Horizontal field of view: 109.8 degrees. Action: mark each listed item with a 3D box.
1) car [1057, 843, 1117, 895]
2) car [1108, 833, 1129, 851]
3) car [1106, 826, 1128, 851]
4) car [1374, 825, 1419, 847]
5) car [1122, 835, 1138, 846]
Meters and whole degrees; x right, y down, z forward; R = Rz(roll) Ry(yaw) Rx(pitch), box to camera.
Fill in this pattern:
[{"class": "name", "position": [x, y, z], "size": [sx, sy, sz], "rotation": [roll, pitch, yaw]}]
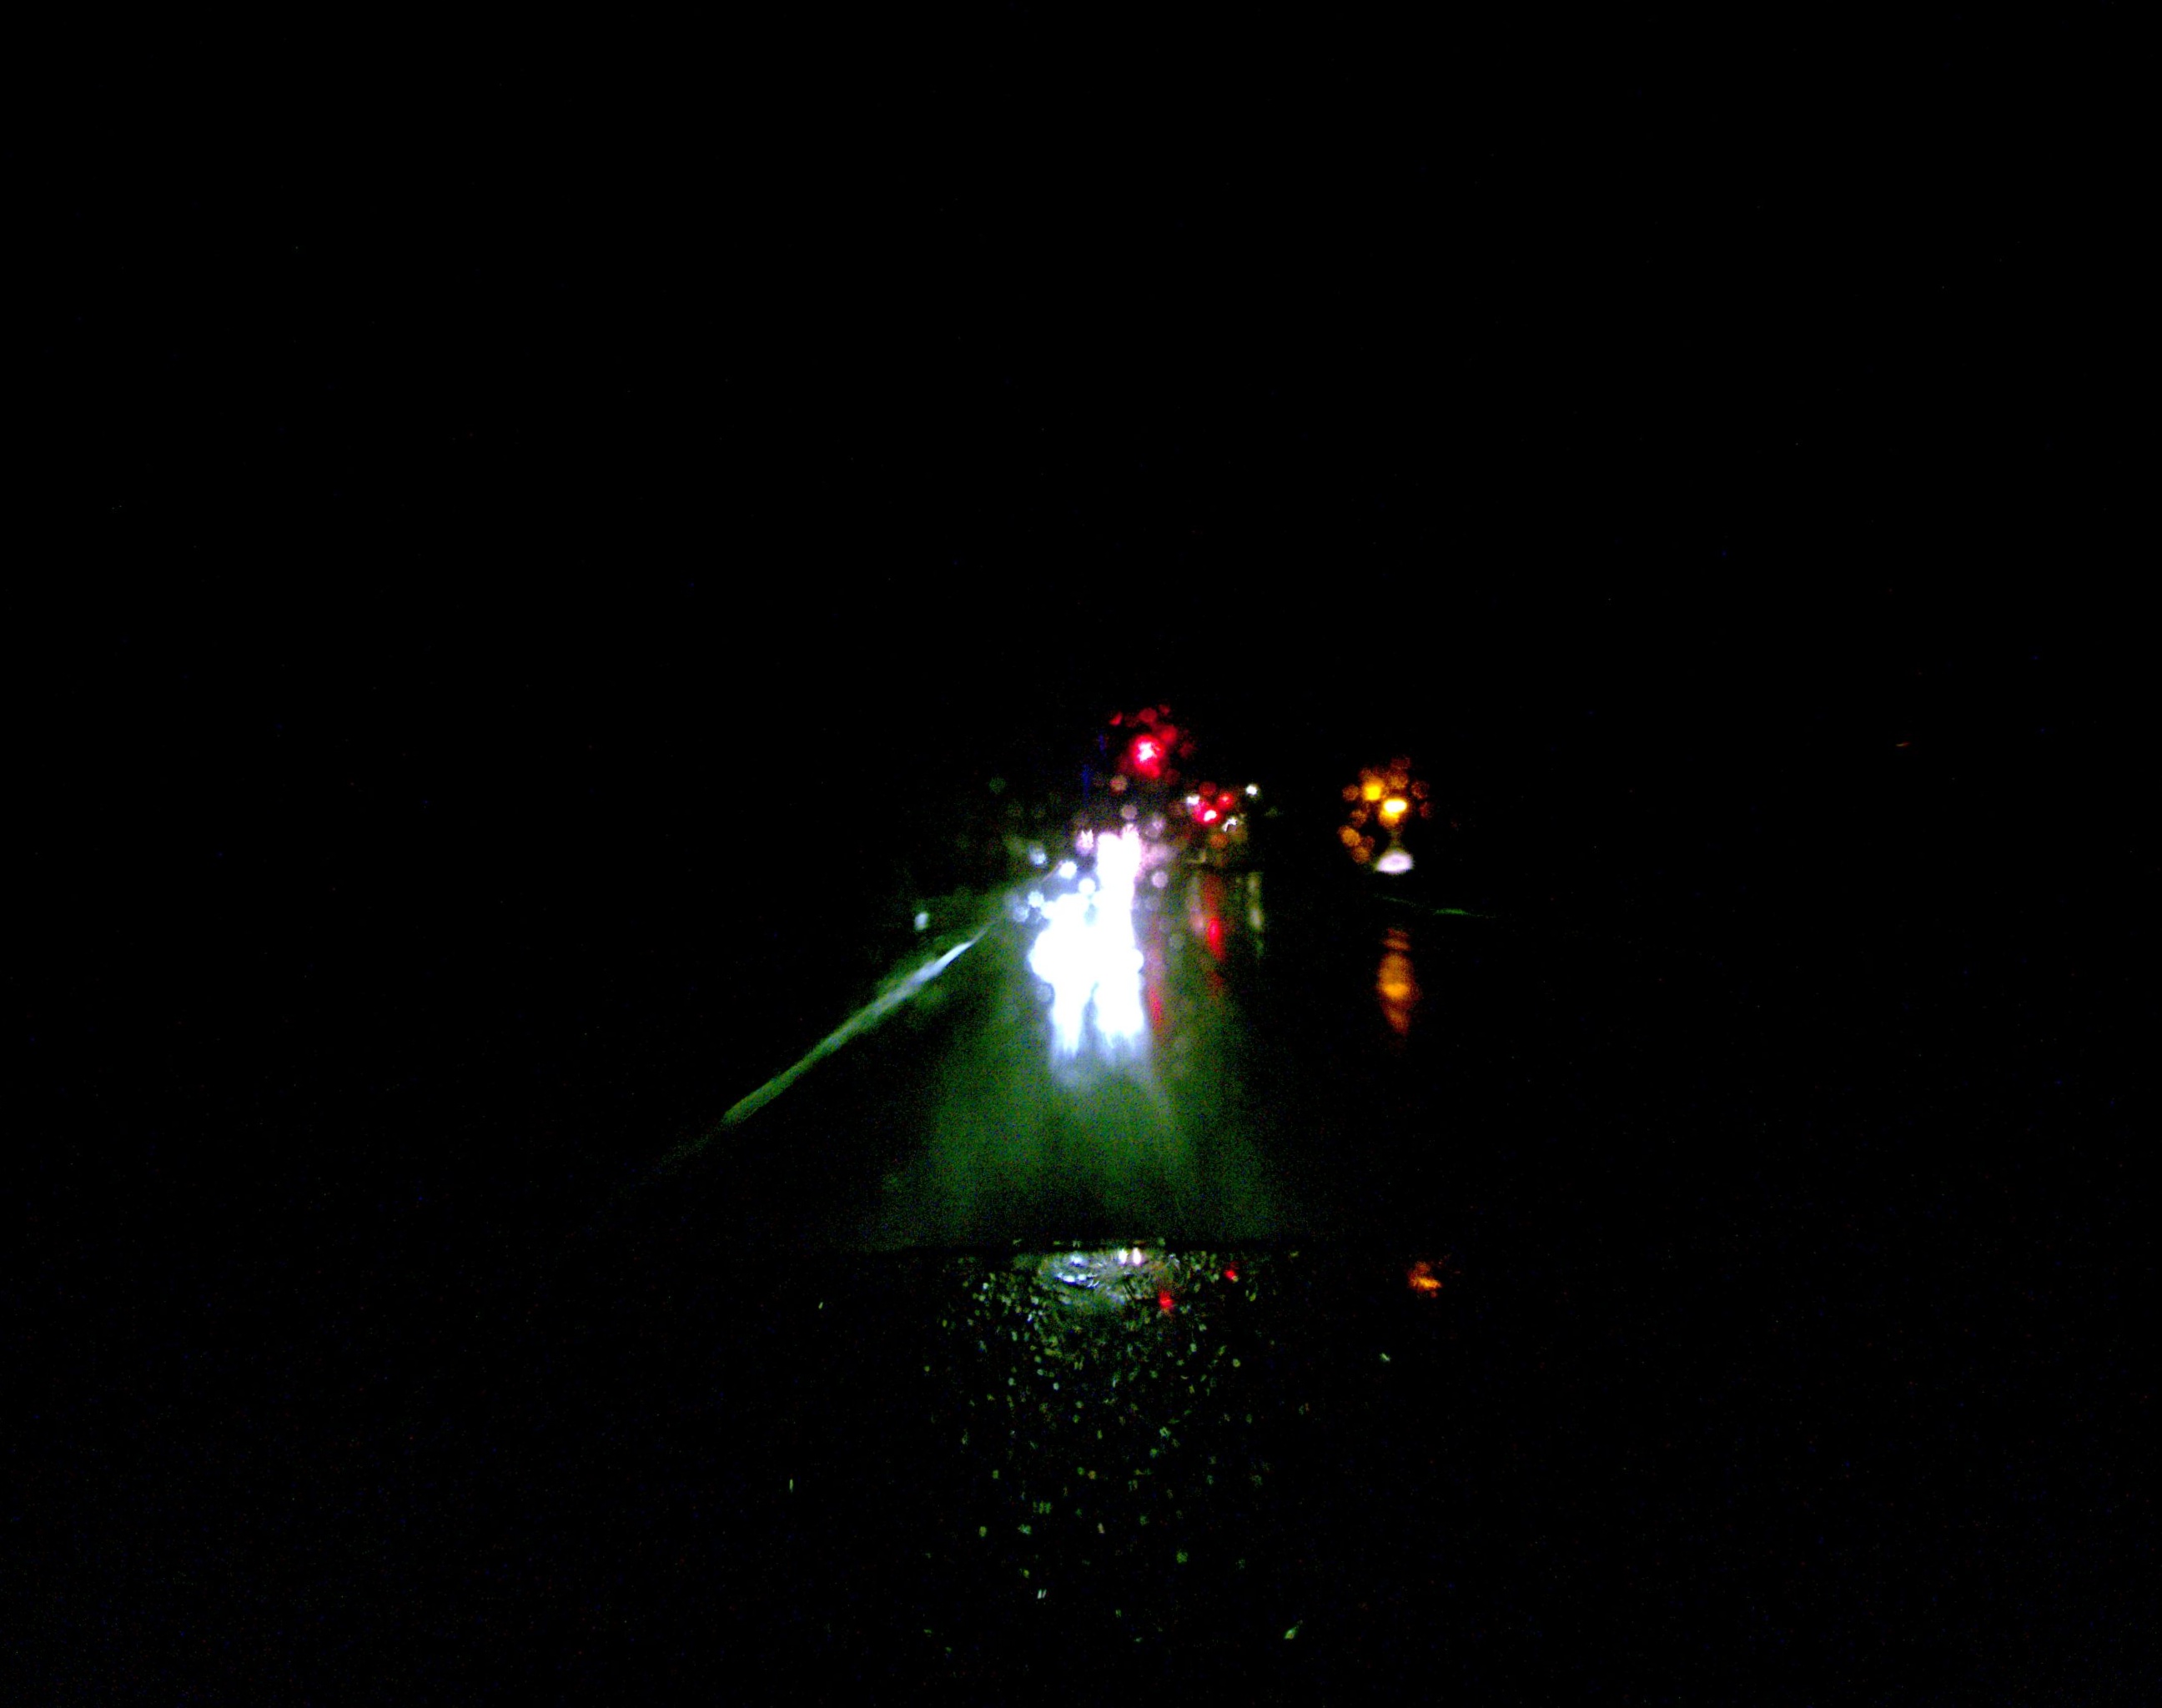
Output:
[{"class": "car", "position": [0.303, 0.500, 27.475], "size": [1.893, 1.678, 4.340], "rotation": [-3, 0, 3]}, {"class": "car", "position": [3.632, -1.186, 74.410], "size": [1.979, 1.508, 4.207], "rotation": [-3, -1, 2]}, {"class": "car", "position": [3.795, -1.592, 80.426], "size": [2.173, 2.427, 4.862], "rotation": [-3, -1, 2]}, {"class": "car", "position": [25.190, -1.464, 60.829], "size": [1.937, 1.578, 4.480], "rotation": [-1, 3, 2]}, {"class": "car", "position": [7.308, -2.000, 113.318], "size": [2.062, 1.668, 4.139], "rotation": [-2, 1, 1]}]
